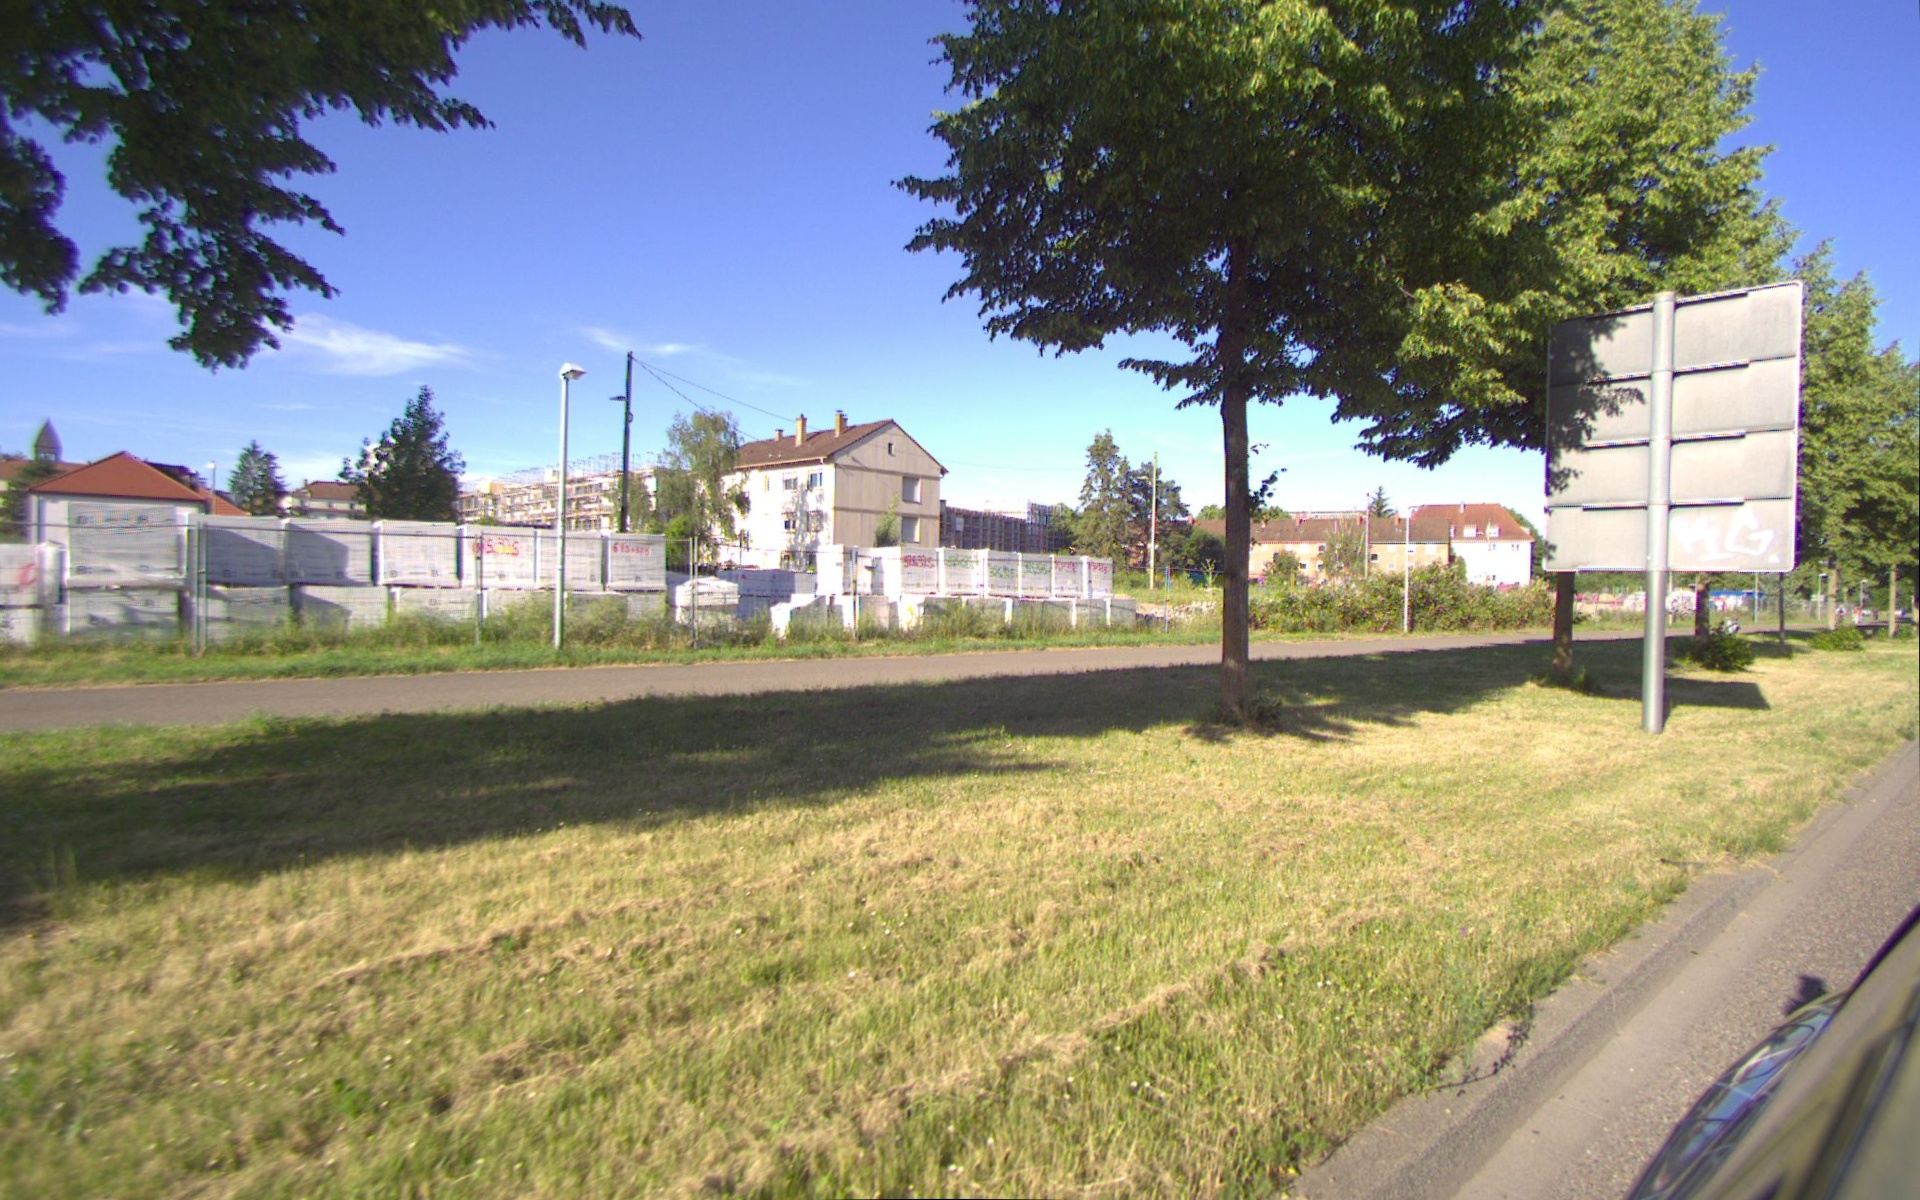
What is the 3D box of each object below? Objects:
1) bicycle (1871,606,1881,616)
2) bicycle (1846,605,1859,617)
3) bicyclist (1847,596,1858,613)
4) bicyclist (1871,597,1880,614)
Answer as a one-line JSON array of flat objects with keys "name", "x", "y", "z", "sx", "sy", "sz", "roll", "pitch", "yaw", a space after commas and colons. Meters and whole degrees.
[{"name": "bicycle", "x": 90.504, "y": 1.097, "z": 100.014, "sx": 1.869, "sy": 0.972, "sz": 0.592, "roll": -2, "pitch": 2, "yaw": -44}, {"name": "bicycle", "x": 82.057, "y": 1.010, "z": 93.009, "sx": 1.788, "sy": 1.025, "sz": 0.656, "roll": 0, "pitch": 0, "yaw": -42}, {"name": "bicyclist", "x": 82.019, "y": 0.433, "z": 92.965, "sx": 0.781, "sy": 1.572, "sz": 0.654, "roll": 1, "pitch": 0, "yaw": -41}, {"name": "bicyclist", "x": 90.481, "y": 0.507, "z": 99.979, "sx": 0.950, "sy": 1.606, "sz": 0.592, "roll": -2, "pitch": 2, "yaw": -44}]
